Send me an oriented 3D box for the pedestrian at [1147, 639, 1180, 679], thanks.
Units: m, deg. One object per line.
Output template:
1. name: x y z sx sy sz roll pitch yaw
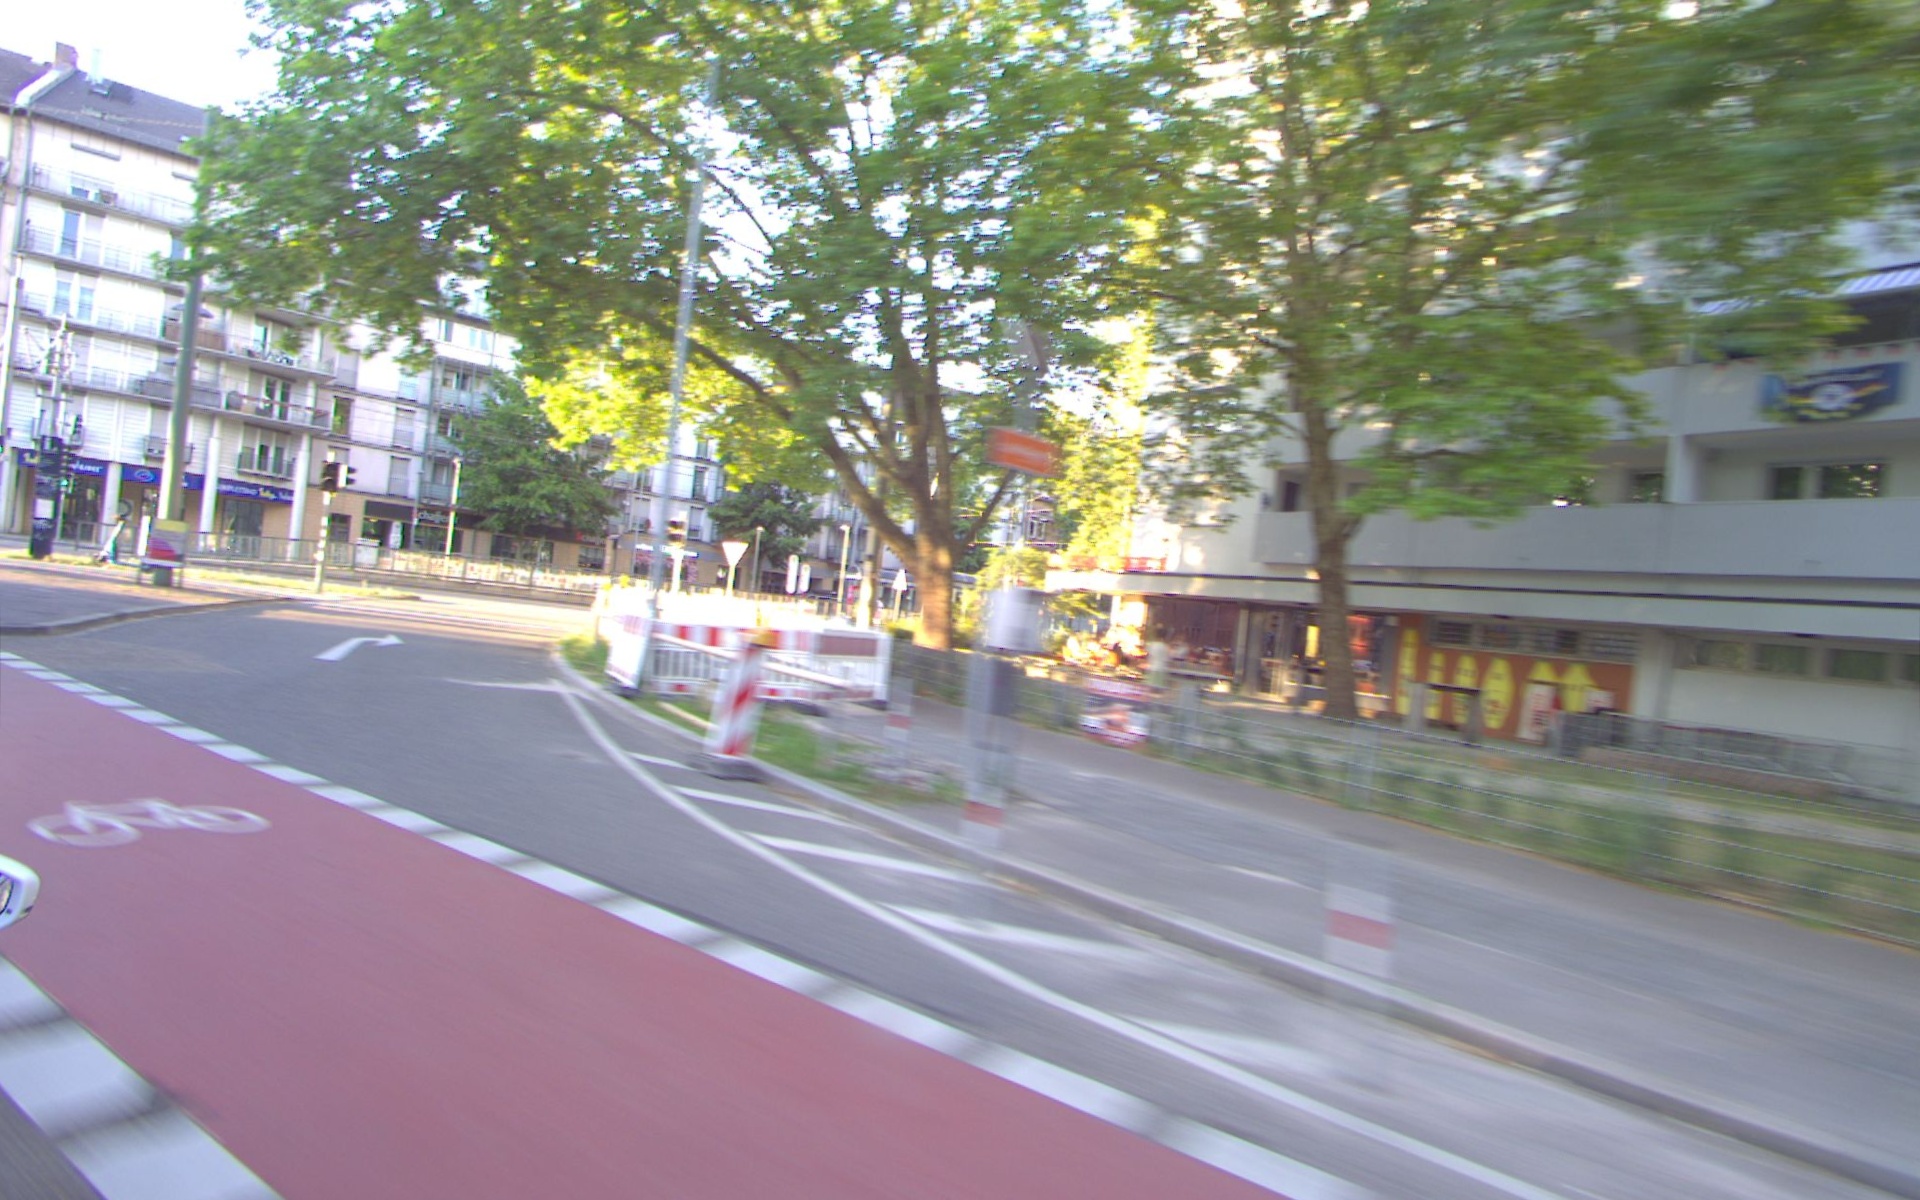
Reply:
1. pedestrian: 6.340 1.835 31.368 0.665 1.150 0.619 7 0 -38

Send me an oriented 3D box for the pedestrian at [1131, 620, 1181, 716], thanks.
1. pedestrian: 3.859 1.333 19.767 0.704 1.780 0.663 7 0 18

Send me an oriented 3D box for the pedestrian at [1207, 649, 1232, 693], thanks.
1. pedestrian: 7.564 2.063 29.327 0.538 1.192 0.558 7 0 21

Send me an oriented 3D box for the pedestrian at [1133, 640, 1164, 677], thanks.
1. pedestrian: 5.744 1.786 30.717 0.575 1.041 0.653 7 0 -18

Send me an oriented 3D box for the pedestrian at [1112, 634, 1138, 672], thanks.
1. pedestrian: 5.374 1.732 32.783 0.596 1.143 0.626 7 0 0

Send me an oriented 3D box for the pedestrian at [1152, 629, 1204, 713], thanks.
1. pedestrian: 4.900 1.592 22.663 0.710 1.780 0.657 6 0 -32

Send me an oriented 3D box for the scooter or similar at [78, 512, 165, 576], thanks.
1. scooter or similar: -19.273 -1.269 23.141 1.366 1.265 0.545 7 0 -6

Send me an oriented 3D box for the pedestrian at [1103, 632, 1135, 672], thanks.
1. pedestrian: 4.910 1.608 31.072 0.625 1.126 0.570 7 0 -39
